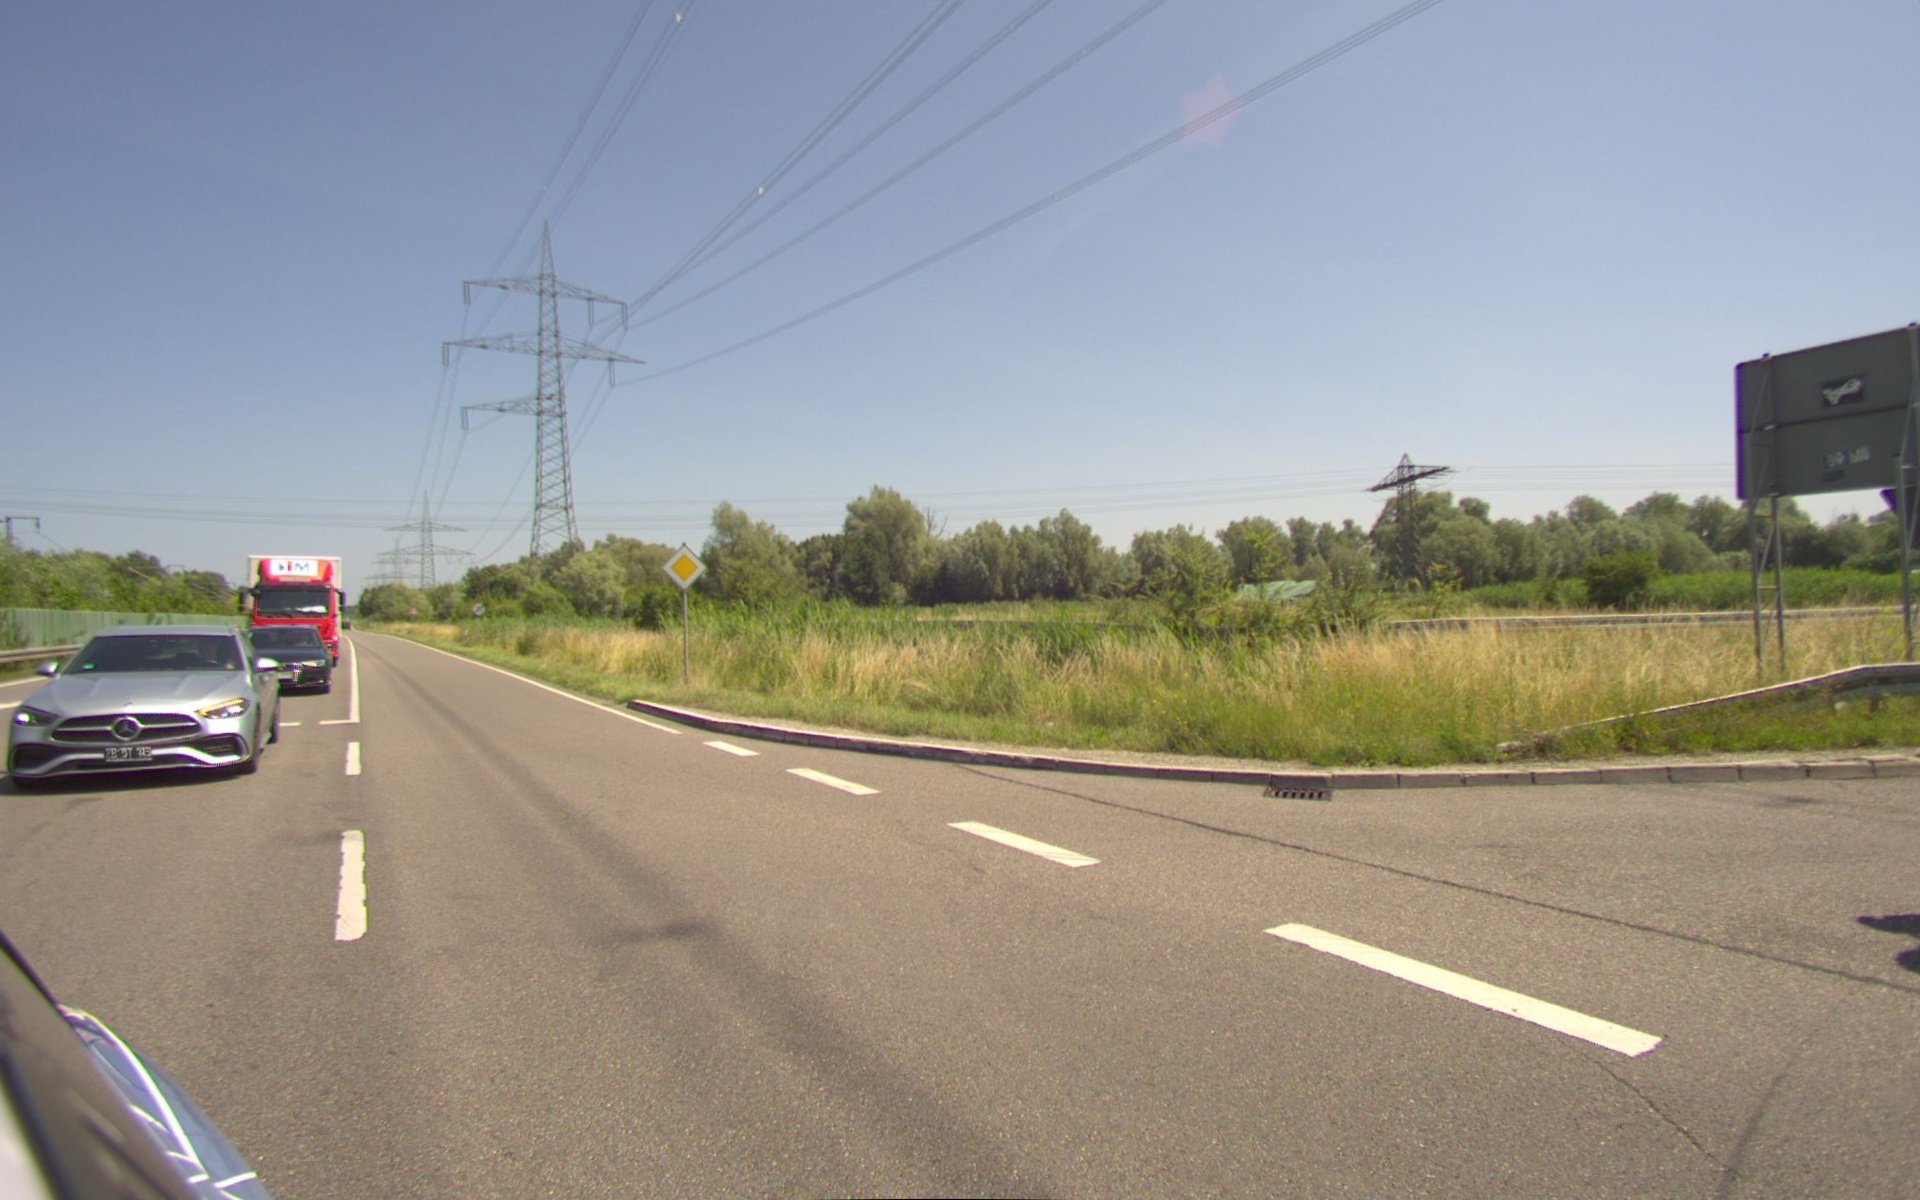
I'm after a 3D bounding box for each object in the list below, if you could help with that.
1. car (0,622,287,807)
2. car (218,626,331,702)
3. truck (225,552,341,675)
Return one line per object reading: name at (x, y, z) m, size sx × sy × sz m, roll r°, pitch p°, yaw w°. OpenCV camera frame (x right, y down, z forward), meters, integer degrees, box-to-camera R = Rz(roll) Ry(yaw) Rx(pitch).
car at (-8.164, 0.958, 10.297) m, size 1.966 × 1.457 × 4.480 m, roll 1°, pitch -1°, yaw -31°
car at (-14.342, 1.258, 21.360) m, size 1.670 × 1.403 × 4.481 m, roll 1°, pitch -1°, yaw -30°
truck at (-22.541, 0.436, 34.016) m, size 2.860 × 3.690 × 7.177 m, roll -1°, pitch 0°, yaw -31°
